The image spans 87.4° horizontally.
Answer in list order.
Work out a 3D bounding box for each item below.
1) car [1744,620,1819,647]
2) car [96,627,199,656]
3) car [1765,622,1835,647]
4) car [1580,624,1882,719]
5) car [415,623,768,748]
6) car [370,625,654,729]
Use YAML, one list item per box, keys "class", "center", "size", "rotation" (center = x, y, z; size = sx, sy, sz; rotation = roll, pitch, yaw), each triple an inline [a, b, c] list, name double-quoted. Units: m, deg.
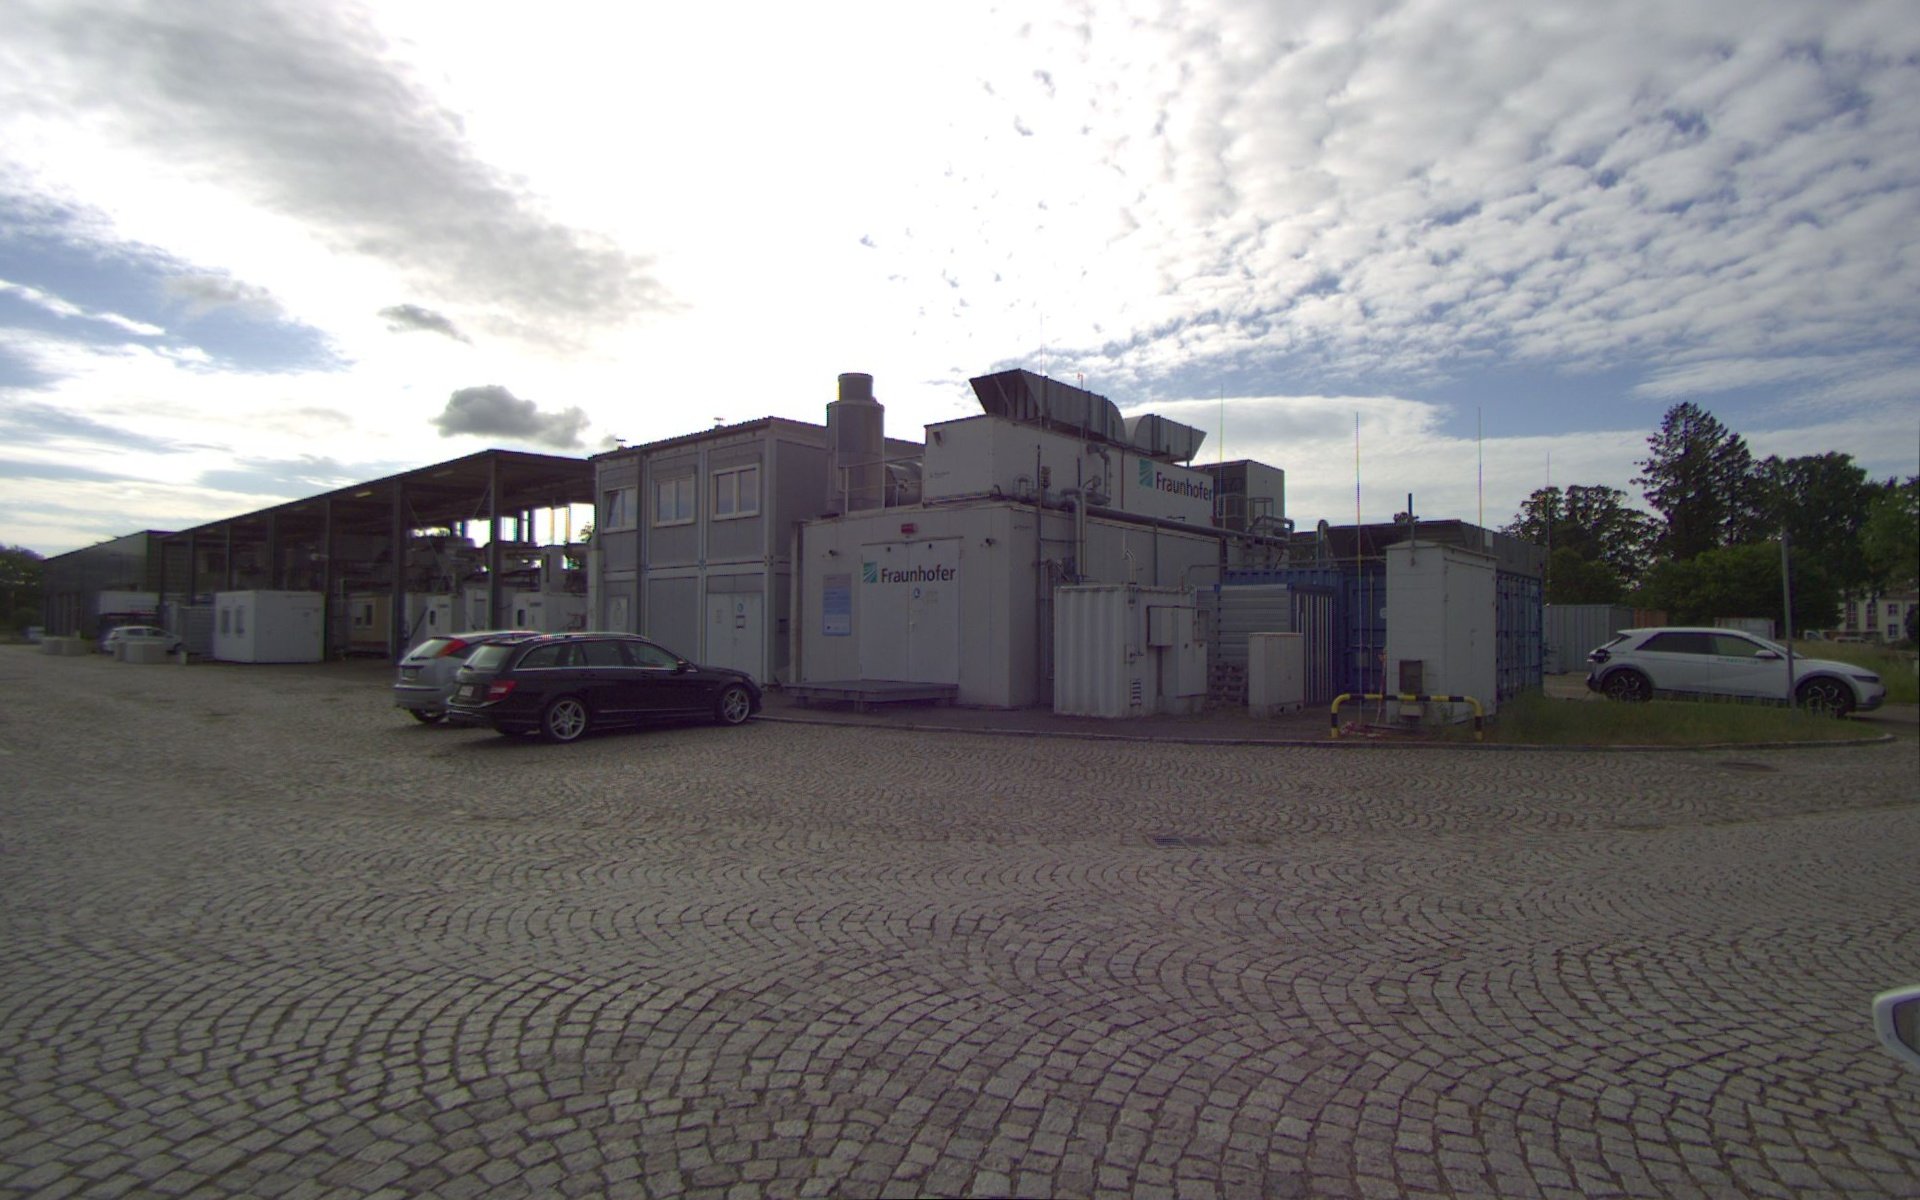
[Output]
- class: "car"
  center: [73.511, 3.000, 89.935]
  size: [5.112, 2.368, 1.990]
  rotation: [-1, -2, 41]
- class: "car"
  center: [-43.616, 2.214, 53.984]
  size: [1.970, 1.512, 3.982]
  rotation: [-1, -3, 39]
- class: "car"
  center: [80.554, 3.329, 96.389]
  size: [5.112, 2.368, 1.990]
  rotation: [-1, -2, 41]
- class: "car"
  center: [14.884, 1.302, 19.559]
  size: [4.487, 1.620, 1.988]
  rotation: [-2, -3, 44]
- class: "car"
  center: [-5.267, 1.123, 14.846]
  size: [2.013, 1.472, 4.506]
  rotation: [-1, -1, 41]
- class: "car"
  center: [-7.472, 1.192, 17.059]
  size: [1.883, 1.495, 4.029]
  rotation: [-1, -1, 39]
